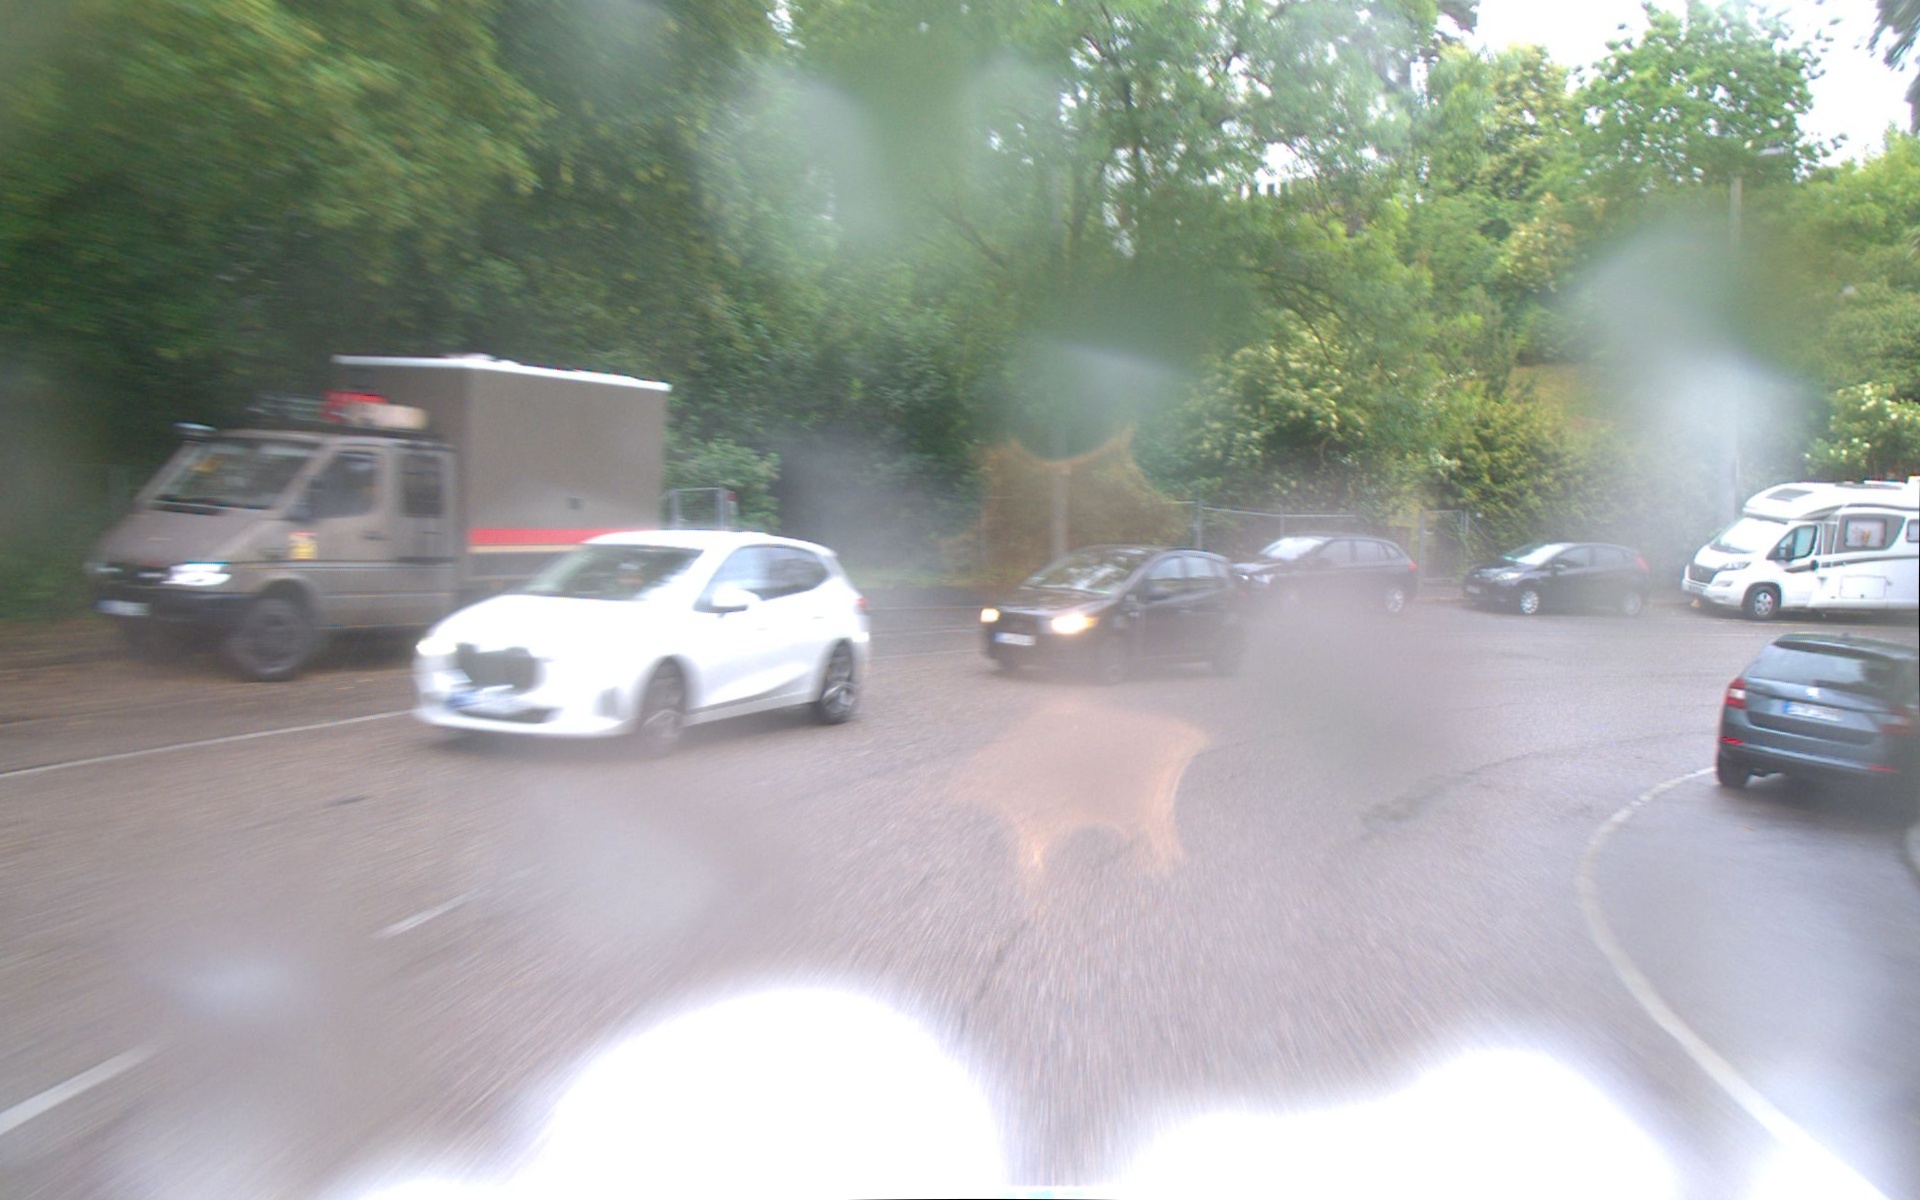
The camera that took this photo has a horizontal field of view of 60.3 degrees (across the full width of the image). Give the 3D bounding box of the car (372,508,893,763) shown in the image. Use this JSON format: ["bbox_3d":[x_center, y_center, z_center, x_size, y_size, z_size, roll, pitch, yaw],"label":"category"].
[{"bbox_3d":[-2.328,0.173,13.077,1.763,1.597,4.454,3,2,24],"label":"car"}]

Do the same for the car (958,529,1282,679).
[{"bbox_3d":[2.015,0.008,19.921,1.736,1.544,4.060,6,4,43],"label":"car"}]

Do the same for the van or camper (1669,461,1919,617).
[{"bbox_3d":[19.292,-1.271,35.099,7.488,2.981,2.201,2,6,-6],"label":"van or camper"}]

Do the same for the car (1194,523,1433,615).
[{"bbox_3d":[6.655,-0.574,31.049,4.253,1.489,1.768,0,6,-30],"label":"car"}]

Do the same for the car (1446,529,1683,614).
[{"bbox_3d":[12.268,-0.582,33.649,4.228,1.378,1.754,2,6,-15],"label":"car"}]

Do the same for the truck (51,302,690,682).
[{"bbox_3d":[-5.641,-1.033,17.137,1.994,3.155,6.607,5,3,26],"label":"truck"}]

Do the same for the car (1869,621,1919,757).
[{"bbox_3d":[12.230,1.060,18.827,3.682,1.431,1.673,1,6,-33],"label":"car"}]

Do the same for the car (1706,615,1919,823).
[{"bbox_3d":[8.505,0.982,15.400,1.626,1.489,4.009,8,5,41],"label":"car"}]
